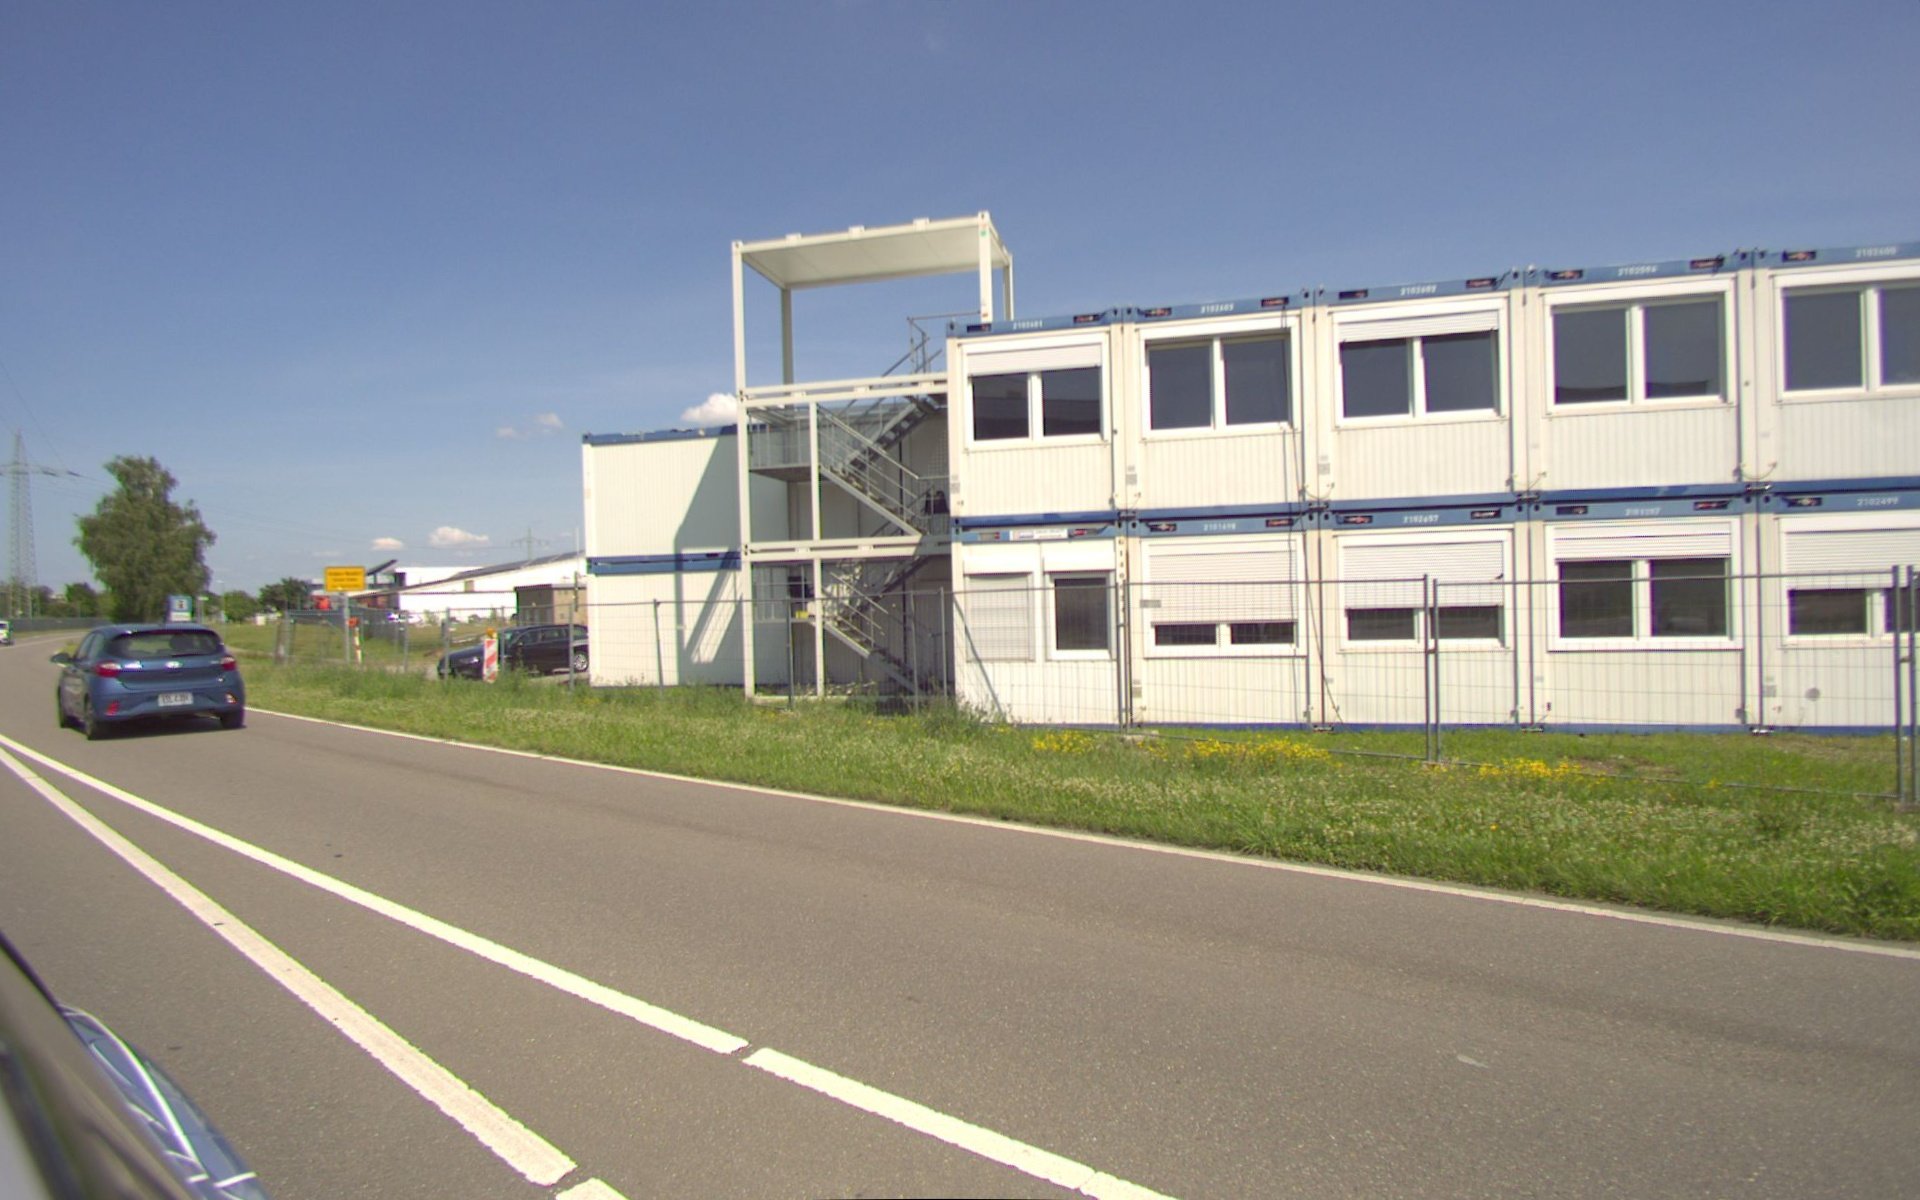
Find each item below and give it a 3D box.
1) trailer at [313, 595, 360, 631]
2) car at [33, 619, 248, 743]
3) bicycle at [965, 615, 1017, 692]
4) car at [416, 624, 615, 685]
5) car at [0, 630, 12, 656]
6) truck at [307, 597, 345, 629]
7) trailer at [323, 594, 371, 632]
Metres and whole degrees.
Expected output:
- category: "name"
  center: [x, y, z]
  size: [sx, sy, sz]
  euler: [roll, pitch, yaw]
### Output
- category: "trailer"
  center: [-68.159, 1.403, 110.456]
  size: [3.247, 3.672, 14.960]
  euler: [0, 0, -36]
- category: "car"
  center: [-11.746, 1.030, 14.420]
  size: [3.997, 1.493, 1.685]
  euler: [-1, 0, 40]
- category: "bicycle"
  center: [0.599, 0.941, 18.591]
  size: [0.602, 1.311, 2.039]
  euler: [-1, 0, 12]
- category: "car"
  center: [-12.600, 1.507, 29.030]
  size: [1.994, 1.428, 4.931]
  euler: [-2, 0, 32]
- category: "car"
  center: [-69.987, 3.072, 73.081]
  size: [1.808, 1.820, 4.840]
  euler: [0, -1, -38]
- category: "truck"
  center: [-75.720, 1.528, 120.750]
  size: [3.060, 3.672, 10.618]
  euler: [0, 0, -36]
- category: "trailer"
  center: [-61.195, 1.287, 100.929]
  size: [3.354, 3.672, 8.679]
  euler: [0, 0, -36]
